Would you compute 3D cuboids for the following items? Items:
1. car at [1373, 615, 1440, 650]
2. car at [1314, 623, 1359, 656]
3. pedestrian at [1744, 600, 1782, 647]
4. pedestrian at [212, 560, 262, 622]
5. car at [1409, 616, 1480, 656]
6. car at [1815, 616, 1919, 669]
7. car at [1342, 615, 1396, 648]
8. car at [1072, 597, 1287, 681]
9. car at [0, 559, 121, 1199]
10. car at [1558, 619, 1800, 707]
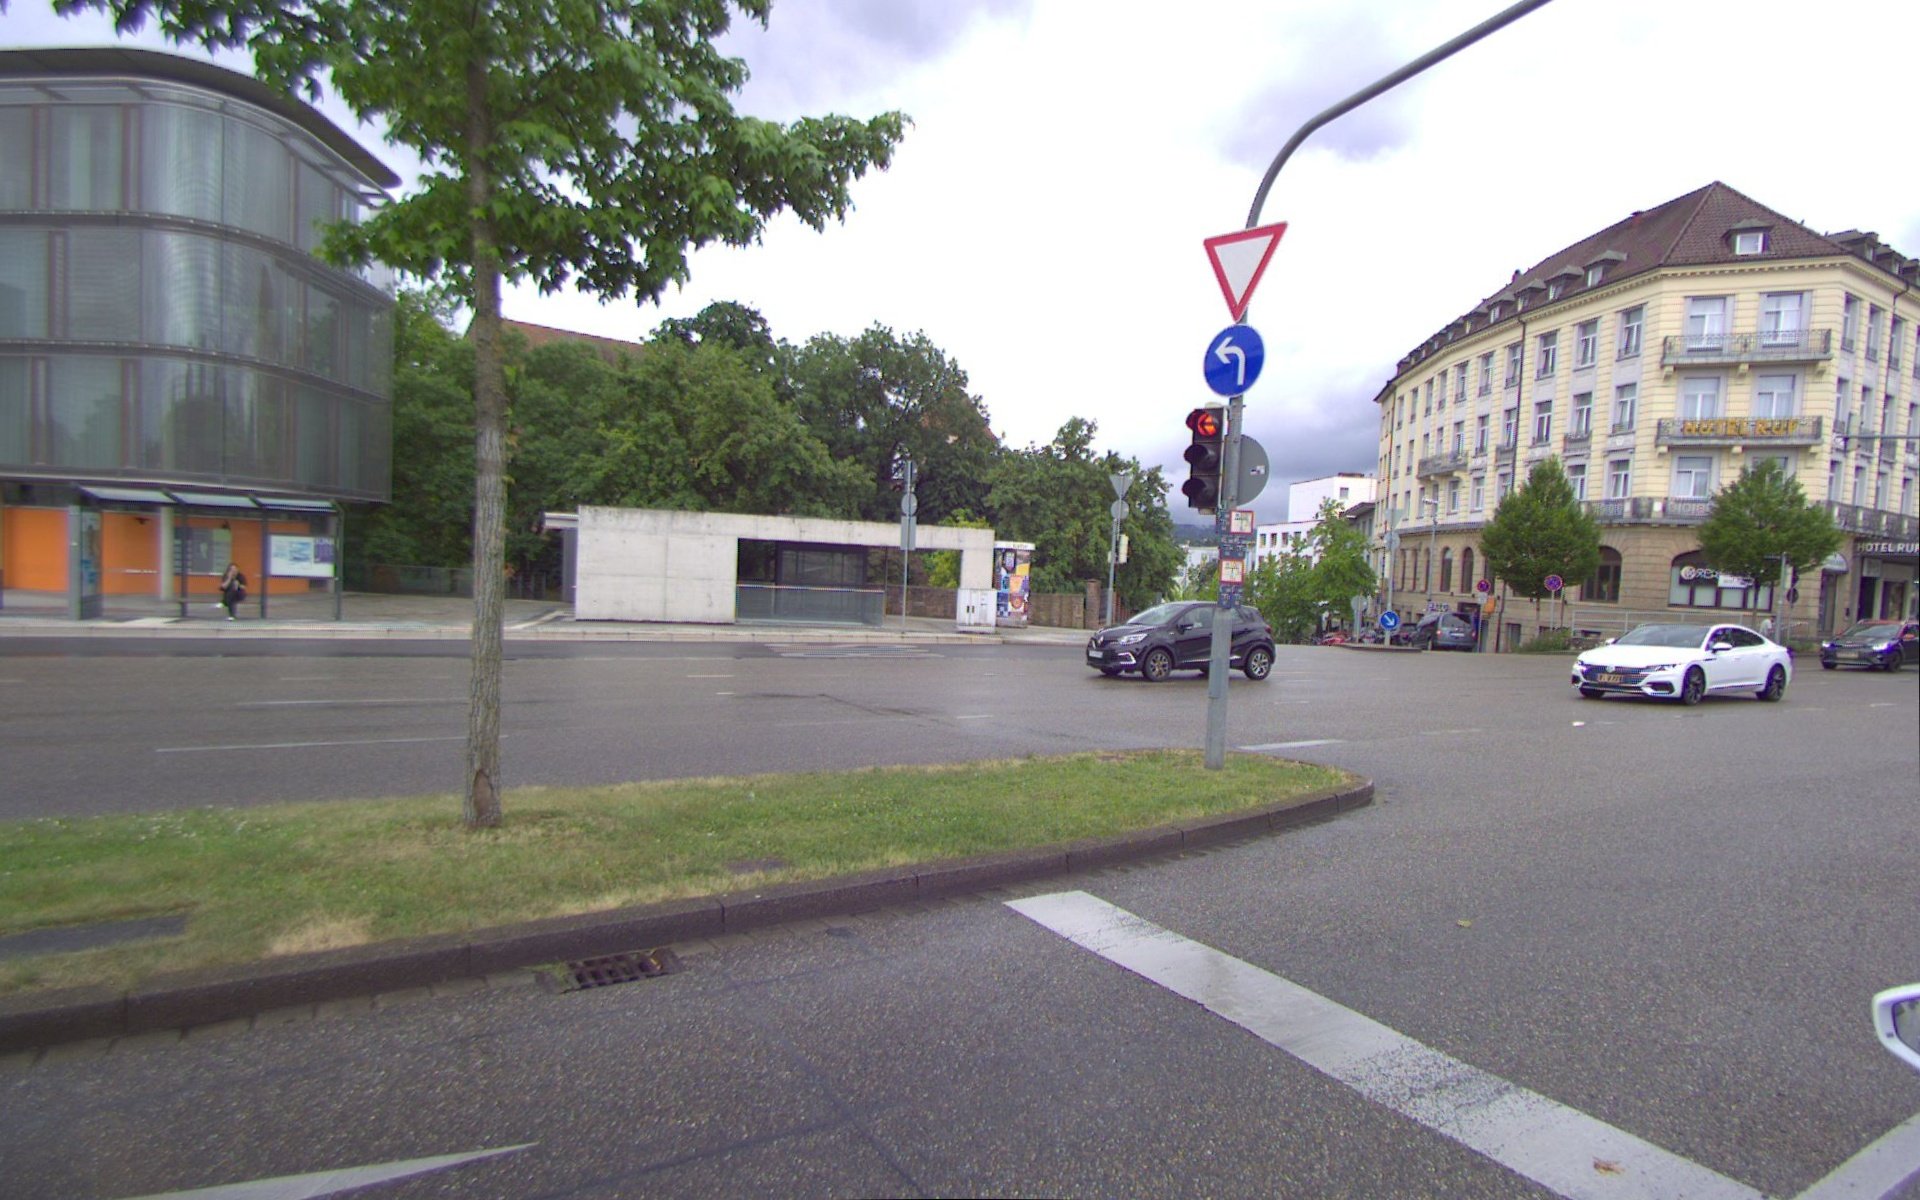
[{"bbox_3d":[22.906,1.629,51.697,1.959,1.662,4.002,2,0,6],"label":"car"},{"bbox_3d":[23.581,2.477,63.049,1.741,1.836,3.624,2,1,7],"label":"car"},{"bbox_3d":[33.267,0.954,41.610,1.010,1.903,0.859,1,1,-30],"label":"pedestrian"},{"bbox_3d":[-16.088,-0.195,22.382,0.780,1.341,0.798,1,1,-28],"label":"pedestrian"},{"bbox_3d":[21.730,1.577,45.190,1.764,1.589,4.002,2,1,9],"label":"car"},{"bbox_3d":[28.007,1.278,30.614,3.975,1.496,1.624,1,0,-28],"label":"car"},{"bbox_3d":[23.158,1.773,56.995,1.757,1.662,3.916,2,1,6],"label":"car"},{"bbox_3d":[4.495,0.793,20.562,4.022,1.551,1.766,2,1,-24],"label":"car"},{"bbox_3d":[-3.463,0.615,1.079,3.694,1.478,1.614,2,1,-32],"label":"car"},{"bbox_3d":[13.248,1.077,18.434,4.800,1.400,1.717,1,0,-29],"label":"car"}]
